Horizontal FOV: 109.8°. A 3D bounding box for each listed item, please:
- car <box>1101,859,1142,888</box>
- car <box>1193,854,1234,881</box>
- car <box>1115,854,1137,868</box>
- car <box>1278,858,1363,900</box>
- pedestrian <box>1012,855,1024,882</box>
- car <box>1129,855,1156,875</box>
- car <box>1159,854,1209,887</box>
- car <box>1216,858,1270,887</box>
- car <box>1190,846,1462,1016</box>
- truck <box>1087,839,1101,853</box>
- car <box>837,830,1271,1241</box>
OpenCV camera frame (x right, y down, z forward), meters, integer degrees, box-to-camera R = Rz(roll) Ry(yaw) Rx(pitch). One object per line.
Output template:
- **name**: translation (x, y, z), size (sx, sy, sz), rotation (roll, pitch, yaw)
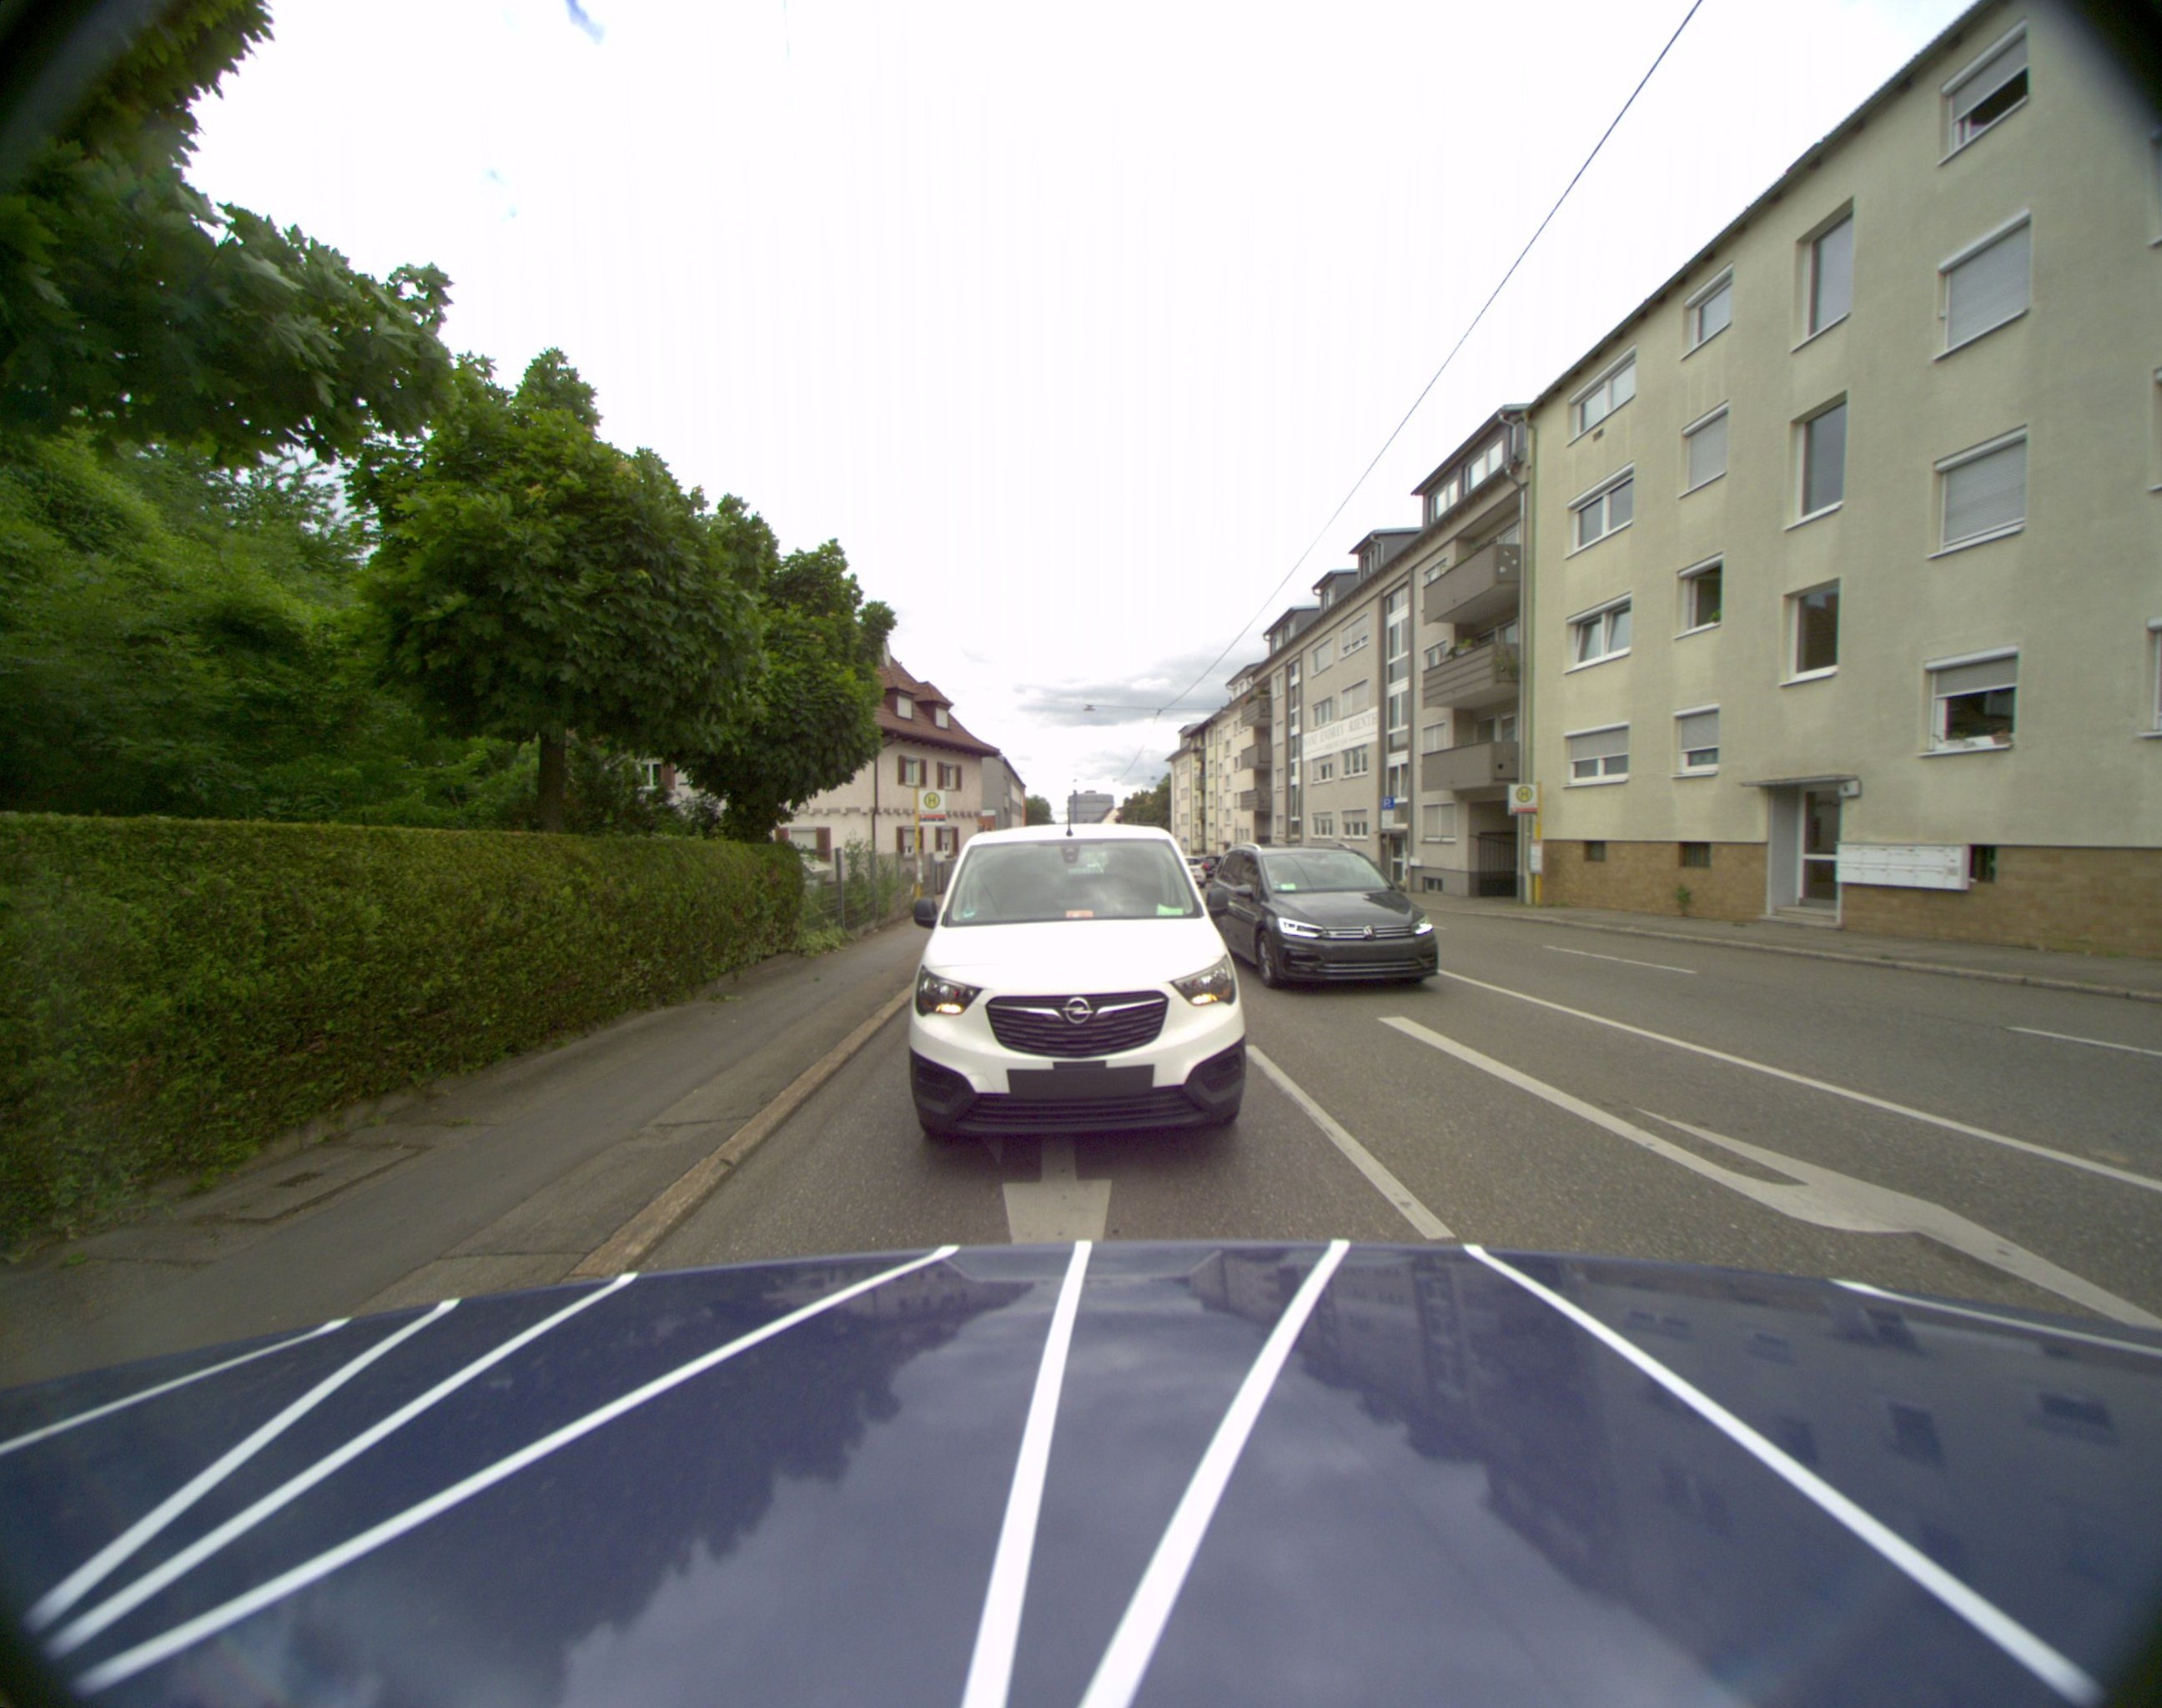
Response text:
- **car**: translation (2.022, 0.944, 38.705), size (1.882, 1.347, 4.146), rotation (-1, 0, 0)
- **car**: translation (8.426, 0.837, 48.679), size (1.776, 1.591, 3.538), rotation (0, 1, -5)
- **car**: translation (4.699, 0.752, 79.646), size (1.776, 1.395, 3.642), rotation (0, 1, -5)
- **car**: translation (8.894, 0.883, 28.568), size (1.776, 1.403, 3.685), rotation (0, 1, -5)
- **pedestrian**: translation (-4.340, 0.995, 52.467), size (0.648, 1.830, 0.591), rotation (-1, 1, -20)
- **car**: translation (4.756, 0.843, 59.149), size (1.593, 1.474, 3.597), rotation (-1, 1, -4)
- **car**: translation (5.003, 0.754, 37.300), size (1.775, 1.513, 4.082), rotation (0, 1, -2)
- **car**: translation (8.382, 0.912, 39.545), size (1.776, 1.395, 3.538), rotation (0, 1, -5)
- **car**: translation (2.759, 0.739, 9.758), size (1.863, 1.601, 4.478), rotation (-2, 1, -2)
- **truck**: translation (2.503, -1.581, 147.679), size (2.547, 2.523, 5.491), rotation (0, 2, -1)
- **car**: translation (-0.086, 0.786, 5.730), size (1.862, 1.772, 4.711), rotation (-2, 1, 1)
